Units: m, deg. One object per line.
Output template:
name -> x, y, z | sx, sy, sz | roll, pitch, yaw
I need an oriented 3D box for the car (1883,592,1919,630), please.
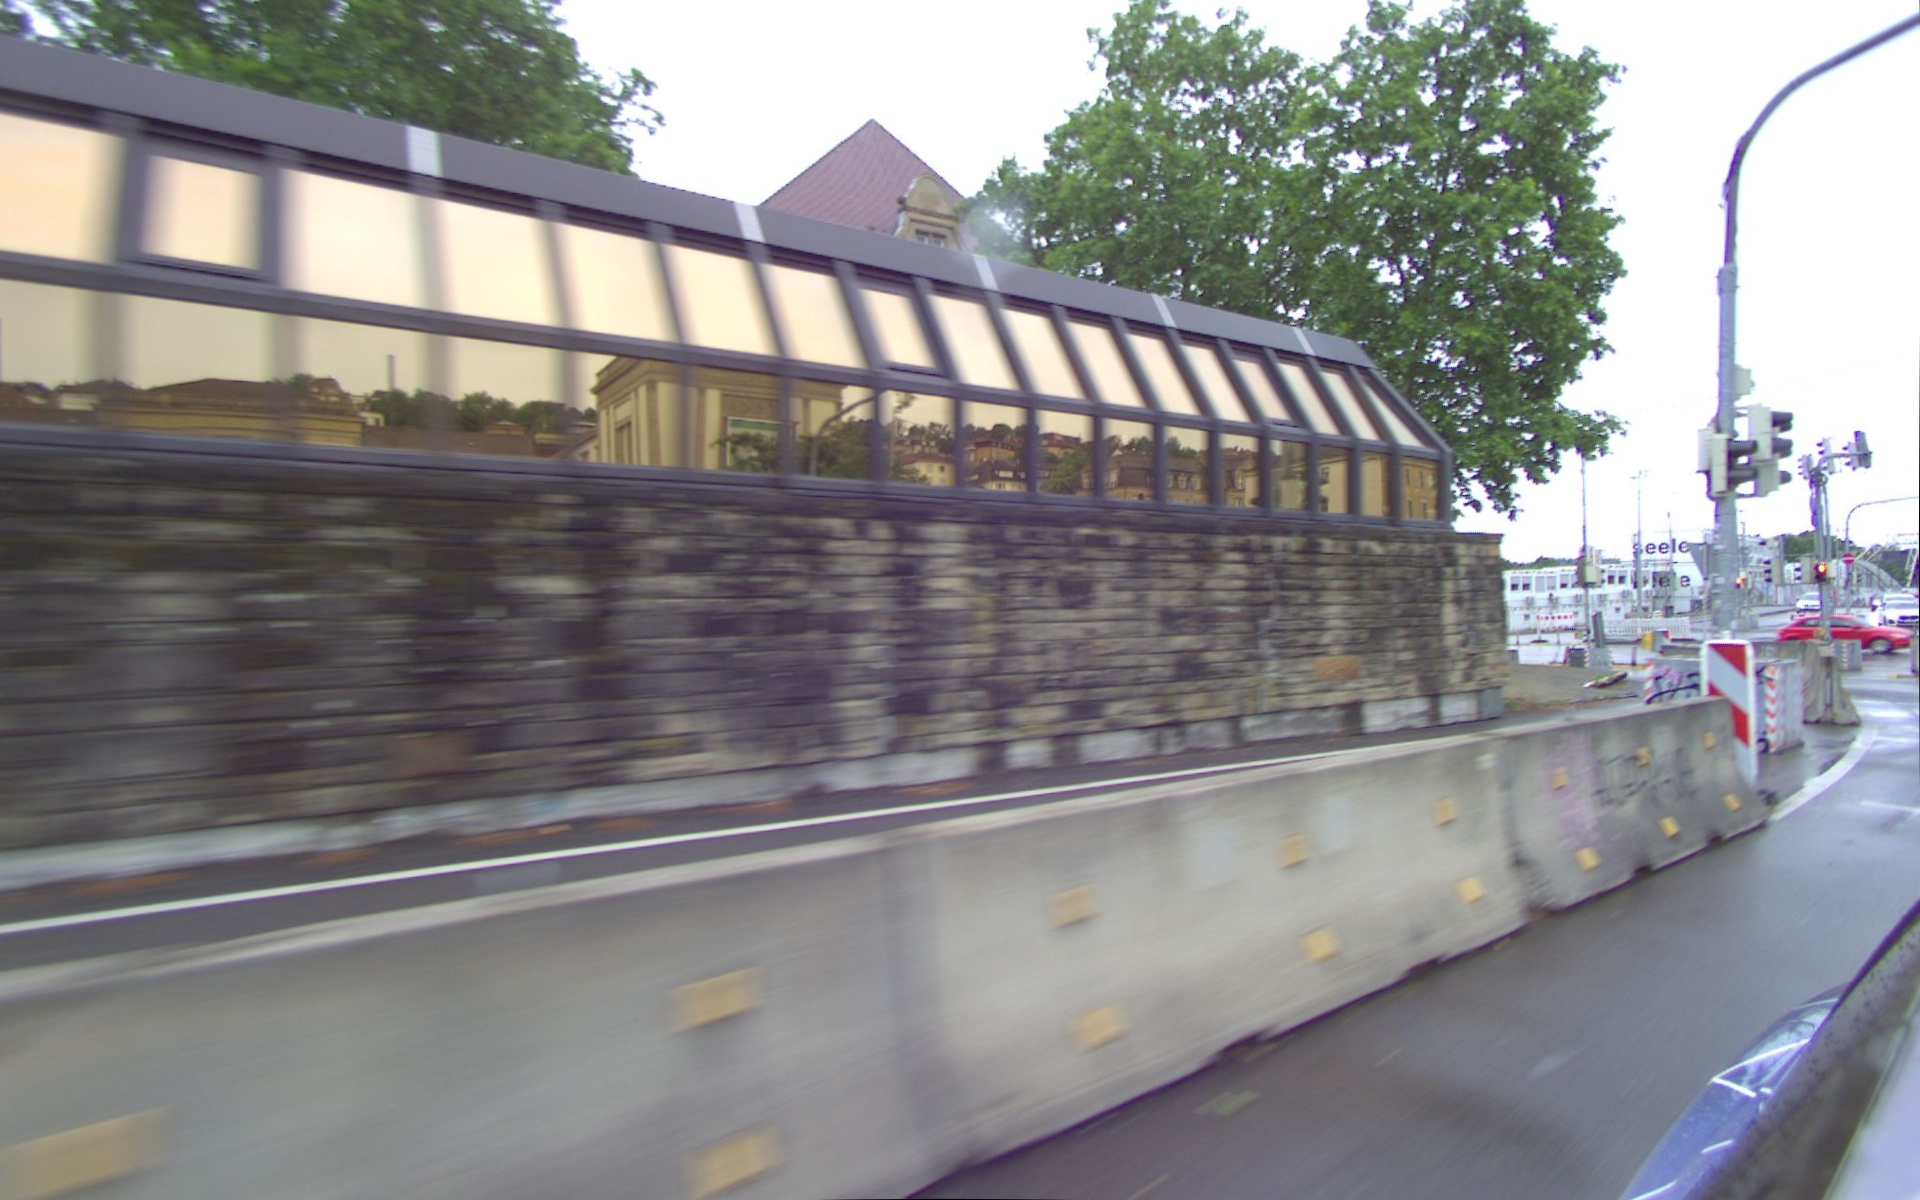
car -> 53.355, 0.590, 56.408 | 1.985, 2.040, 4.371 | -3, -2, 33

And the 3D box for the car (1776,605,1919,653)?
car -> 32.797, 1.084, 37.226 | 1.660, 1.572, 3.995 | -1, -3, -38

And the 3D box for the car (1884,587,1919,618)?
car -> 58.707, 0.168, 62.720 | 1.992, 1.795, 4.289 | -4, -3, 43

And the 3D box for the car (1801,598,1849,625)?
car -> 61.252, 0.792, 71.652 | 4.283, 1.795, 1.995 | 0, -3, -43
